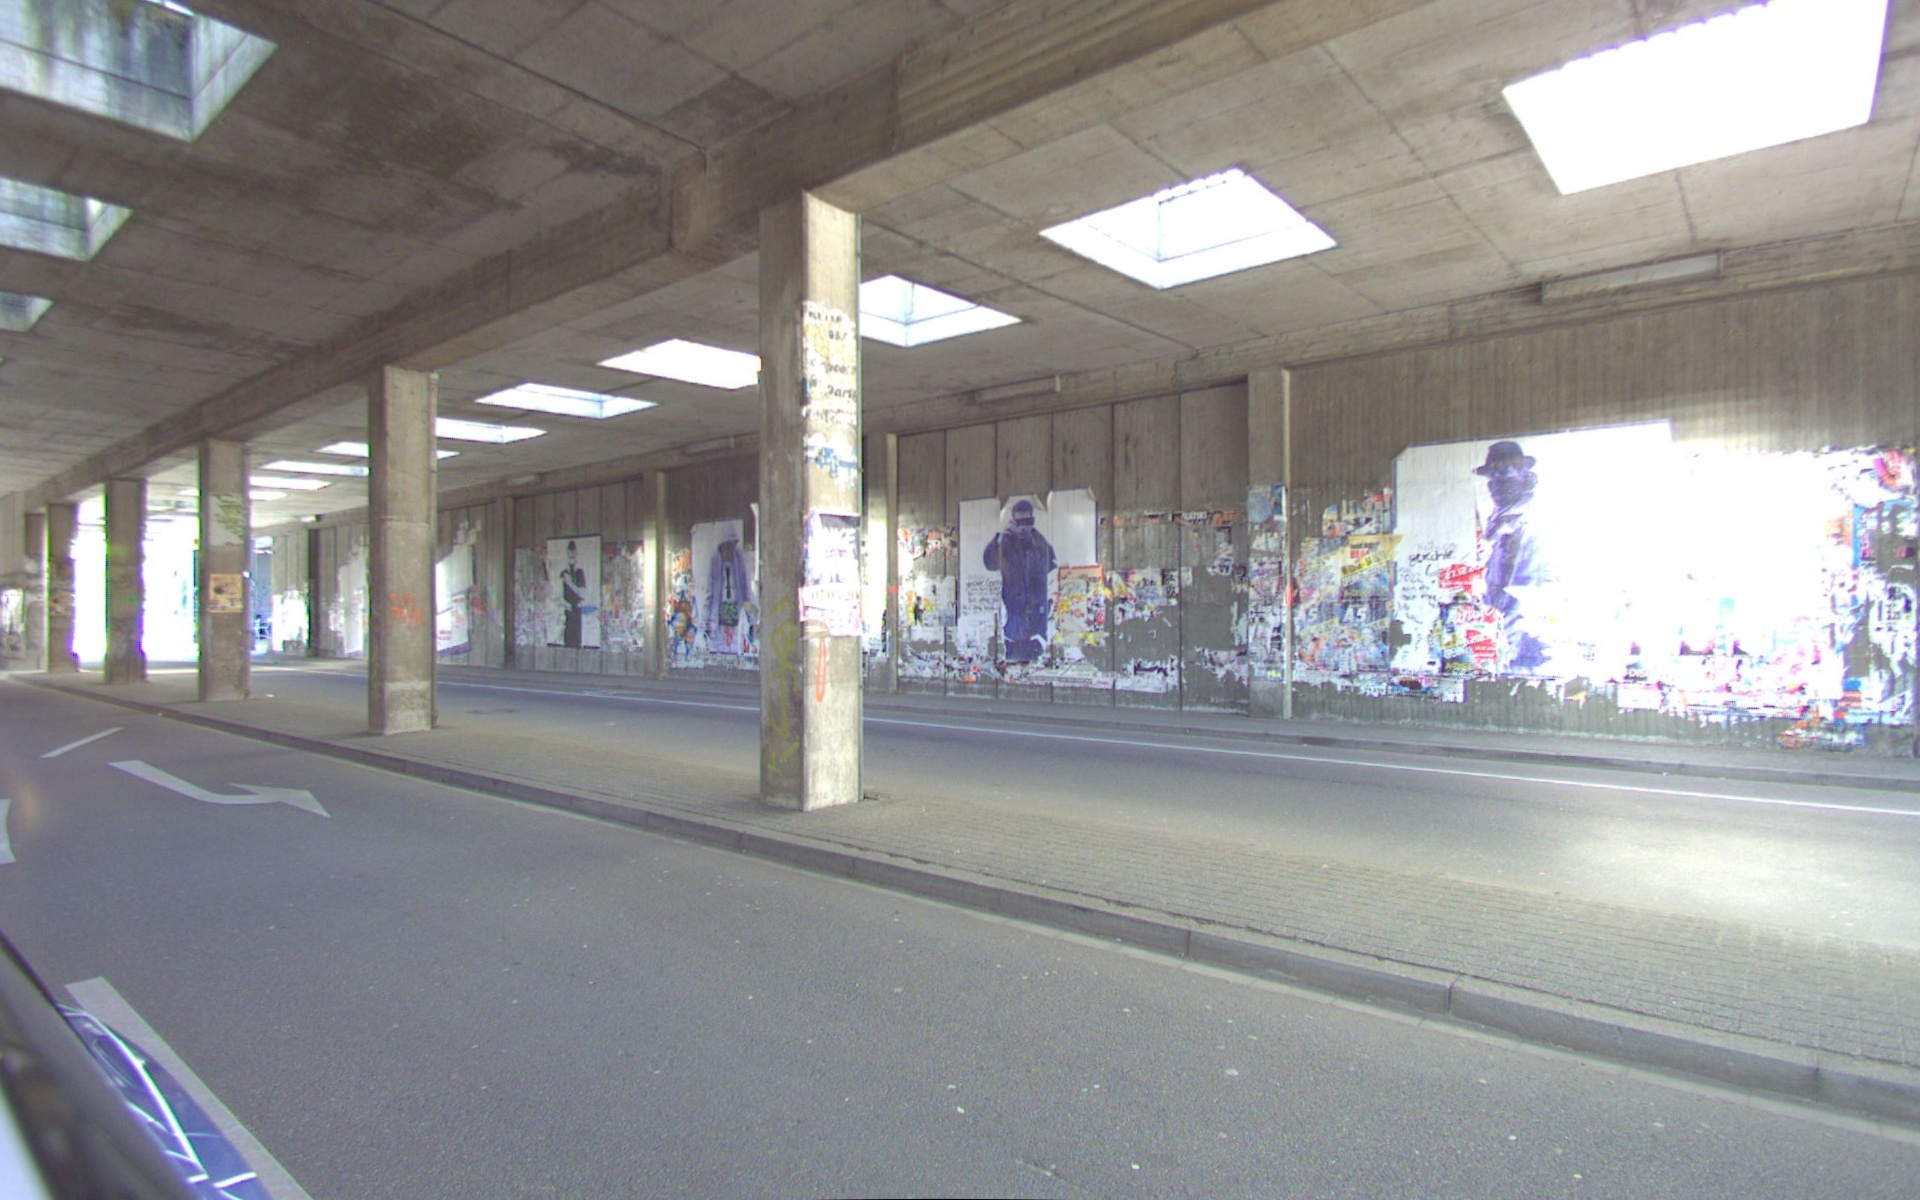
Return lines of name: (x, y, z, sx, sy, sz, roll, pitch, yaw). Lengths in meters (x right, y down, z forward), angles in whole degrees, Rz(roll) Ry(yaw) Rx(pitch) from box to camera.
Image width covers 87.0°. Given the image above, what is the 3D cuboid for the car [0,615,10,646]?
car: (-52.769, 1.664, 53.296, 1.728, 1.618, 3.824, -1, 1, 41)
